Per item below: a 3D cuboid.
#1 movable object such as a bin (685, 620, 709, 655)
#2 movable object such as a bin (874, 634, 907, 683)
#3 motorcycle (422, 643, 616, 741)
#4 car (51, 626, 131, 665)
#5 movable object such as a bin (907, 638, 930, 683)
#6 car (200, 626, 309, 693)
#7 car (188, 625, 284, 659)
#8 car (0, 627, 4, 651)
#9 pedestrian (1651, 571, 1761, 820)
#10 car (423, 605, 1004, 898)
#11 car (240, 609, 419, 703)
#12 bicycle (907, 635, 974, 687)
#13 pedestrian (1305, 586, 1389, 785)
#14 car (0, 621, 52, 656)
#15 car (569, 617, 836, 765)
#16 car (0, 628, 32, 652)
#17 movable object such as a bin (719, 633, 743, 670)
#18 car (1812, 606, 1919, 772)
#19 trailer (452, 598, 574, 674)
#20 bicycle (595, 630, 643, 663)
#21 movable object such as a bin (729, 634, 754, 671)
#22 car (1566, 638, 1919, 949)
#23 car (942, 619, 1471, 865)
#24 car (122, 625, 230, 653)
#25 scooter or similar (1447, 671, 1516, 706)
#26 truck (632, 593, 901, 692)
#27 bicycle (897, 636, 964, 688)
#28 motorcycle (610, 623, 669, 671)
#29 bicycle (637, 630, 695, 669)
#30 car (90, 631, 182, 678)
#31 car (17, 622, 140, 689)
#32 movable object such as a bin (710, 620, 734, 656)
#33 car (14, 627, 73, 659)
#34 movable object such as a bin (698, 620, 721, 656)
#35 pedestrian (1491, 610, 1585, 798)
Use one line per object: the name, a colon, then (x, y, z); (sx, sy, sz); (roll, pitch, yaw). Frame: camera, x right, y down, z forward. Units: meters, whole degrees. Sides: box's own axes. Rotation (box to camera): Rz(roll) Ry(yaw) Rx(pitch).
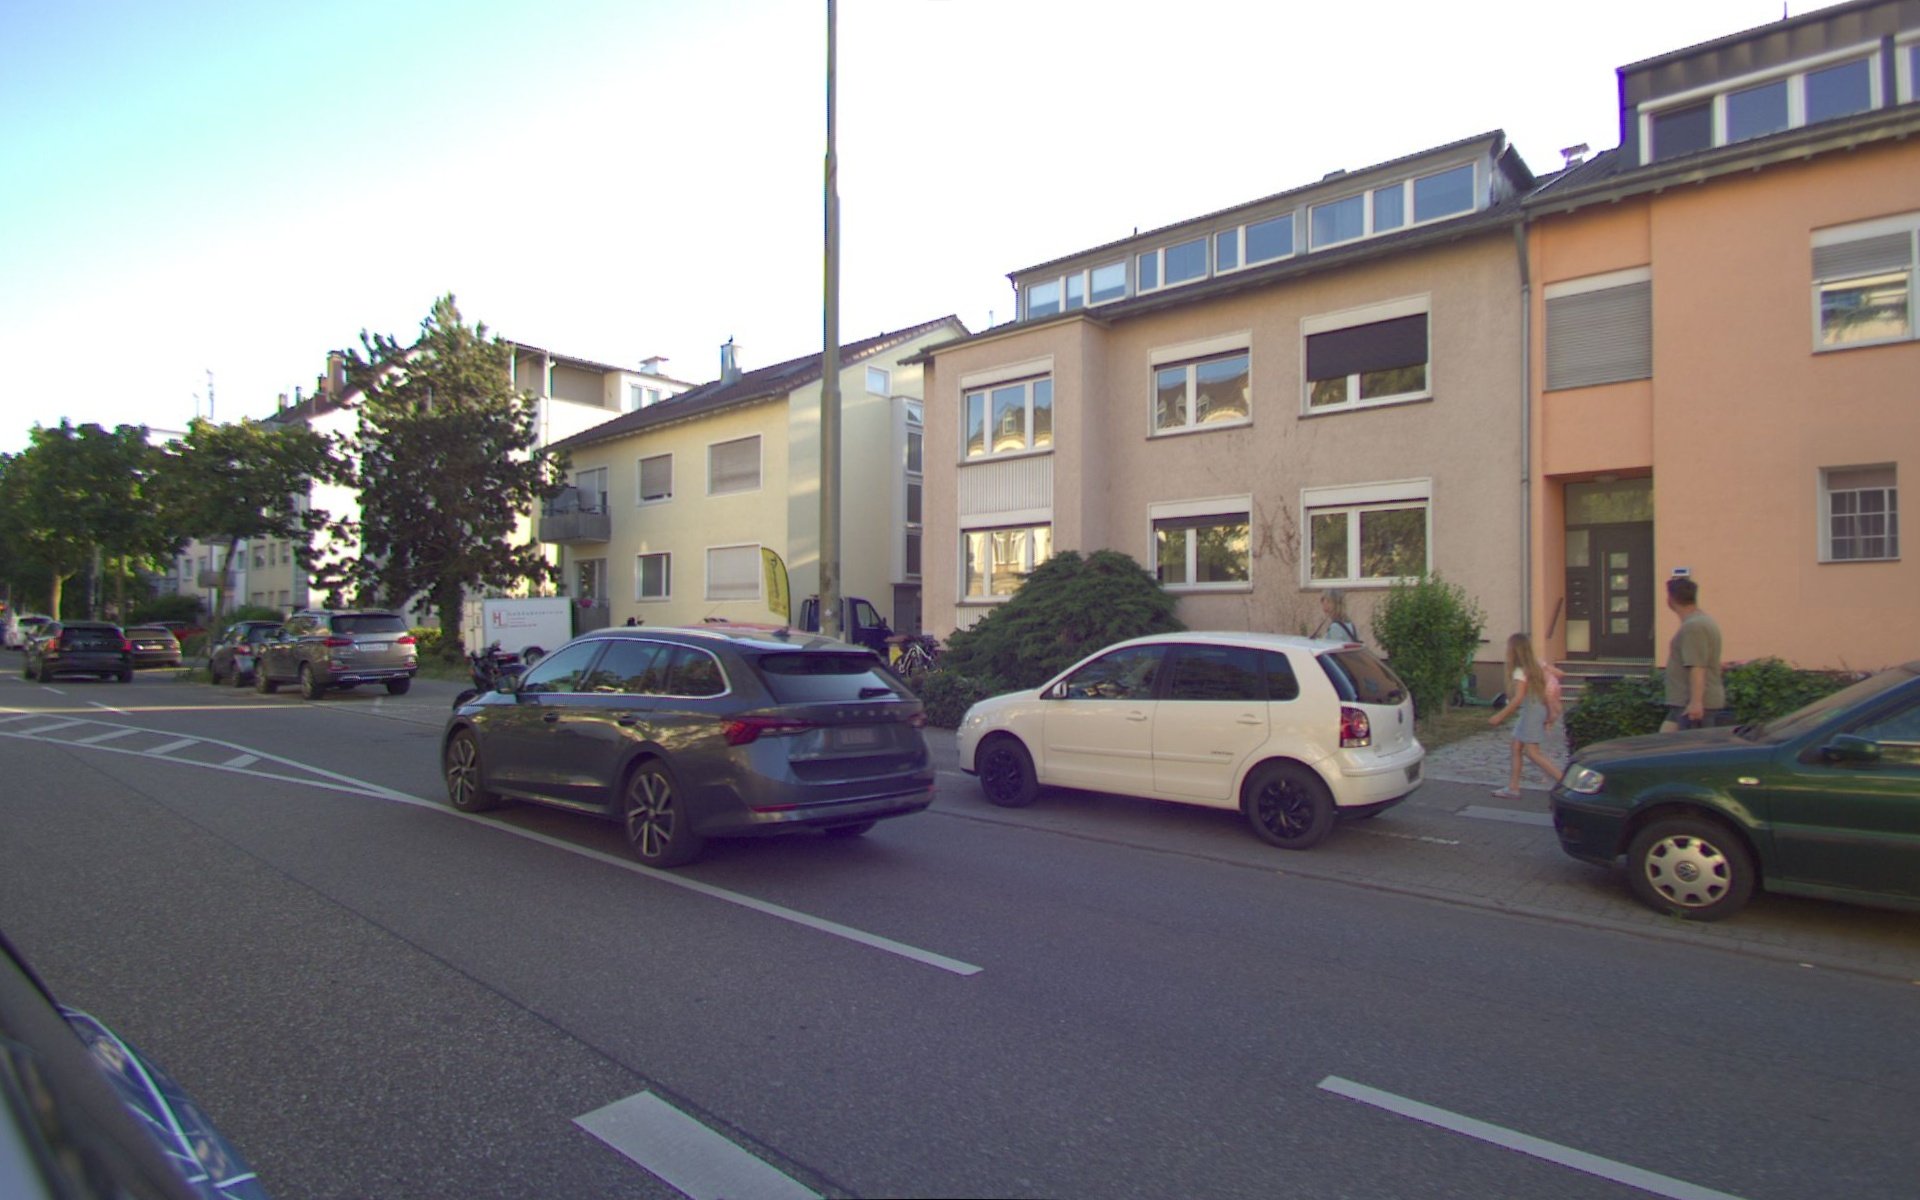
movable object such as a bin: (-7.728, 1.105, 29.758); (0.450, 1.026, 0.497); (-1, -3, 40)
movable object such as a bin: (-1.580, 1.333, 23.146); (0.586, 1.099, 0.483); (-2, -2, 42)
motorcycle: (-6.298, 1.275, 14.500); (2.350, 1.276, 1.176); (0, -2, 18)
car: (-35.177, 1.820, 40.931); (3.997, 1.497, 1.838); (-1, -3, 40)
movable object such as a bin: (-0.964, 1.400, 23.514); (0.349, 1.046, 0.430); (-1, -3, 41)
car: (-17.652, 1.438, 25.294); (2.747, 1.567, 1.557); (-1, -2, 40)
car: (-34.219, 1.949, 47.878); (1.686, 1.535, 3.422); (-2, -2, 42)
car: (-61.522, 2.454, 63.913); (3.682, 1.475, 1.388); (-1, 0, 43)
pedestrian: (5.773, 0.707, 7.829); (0.572, 1.806, 0.705); (-2, -3, 44)
car: (-1.995, 0.854, 7.244); (4.532, 1.463, 1.742); (-2, -4, 41)
car: (-13.500, 1.128, 21.553); (4.723, 1.793, 1.868); (-1, -2, 40)
bicycle: (-0.455, 1.334, 22.407); (1.710, 1.094, 0.329); (-1, -3, 41)
pedestrian: (3.680, 0.787, 9.618); (0.506, 1.806, 0.705); (-2, -3, 44)
car: (-49.918, 2.024, 53.977); (4.190, 1.823, 1.717); (-1, -2, 41)
car: (-3.201, 0.988, 12.263); (3.437, 1.535, 1.575); (-2, -2, 44)
car: (-57.249, 2.383, 61.154); (3.682, 1.416, 1.388); (-1, -2, 43)
movable object such as a bin: (-6.467, 1.454, 28.600); (0.450, 1.026, 0.497); (-1, -3, 40)
car: (9.633, 0.764, 8.462); (3.752, 1.420, 1.646); (-2, -3, 43)
trailer: (-12.648, 1.019, 28.738); (1.551, 2.029, 2.745); (-1, -2, 39)
bicycle: (-11.220, 1.508, 33.260); (2.045, 1.072, 0.513); (-1, -2, 41)
movable object such as a bin: (-6.101, 1.452, 28.254); (0.450, 1.026, 0.497); (-1, -3, 40)
car: (5.232, 0.907, 4.957); (3.664, 1.407, 1.527); (-1, -2, 41)
car: (1.826, 0.935, 8.210); (3.888, 1.535, 1.577); (-1, -2, 40)
car: (-44.558, 2.193, 57.615); (1.735, 1.416, 4.515); (-1, 0, 31)
scooter or similar: (8.242, 1.401, 16.007); (0.870, 0.513, 0.396); (-5, -5, 43)
truck: (-4.688, 1.034, 25.813); (2.275, 2.202, 6.822); (-1, -2, 41)
bicycle: (-0.656, 1.336, 22.107); (1.710, 1.094, 0.329); (-1, -3, 41)
motorcycle: (-9.528, 1.384, 30.003); (2.257, 1.384, 0.564); (-1, -2, 41)
bicycle: (-8.915, 1.473, 30.671); (2.257, 1.149, 0.564); (-1, -2, 41)
car: (-27.320, 1.757, 33.515); (4.442, 1.418, 1.620); (-1, -2, 41)
car: (-22.824, 1.394, 26.167); (3.998, 1.582, 1.816); (-1, -4, 41)
movable object such as a bin: (-6.843, 1.081, 29.053); (0.450, 1.026, 0.497); (-1, -3, 40)
car: (-44.625, 2.062, 49.257); (3.634, 1.475, 1.717); (-1, -2, 41)
movable object such as a bin: (-7.286, 1.095, 29.432); (0.450, 1.026, 0.497); (-1, -3, 40)
pedestrian: (4.882, 0.846, 8.548); (0.542, 1.507, 0.583); (-2, -3, 44)
